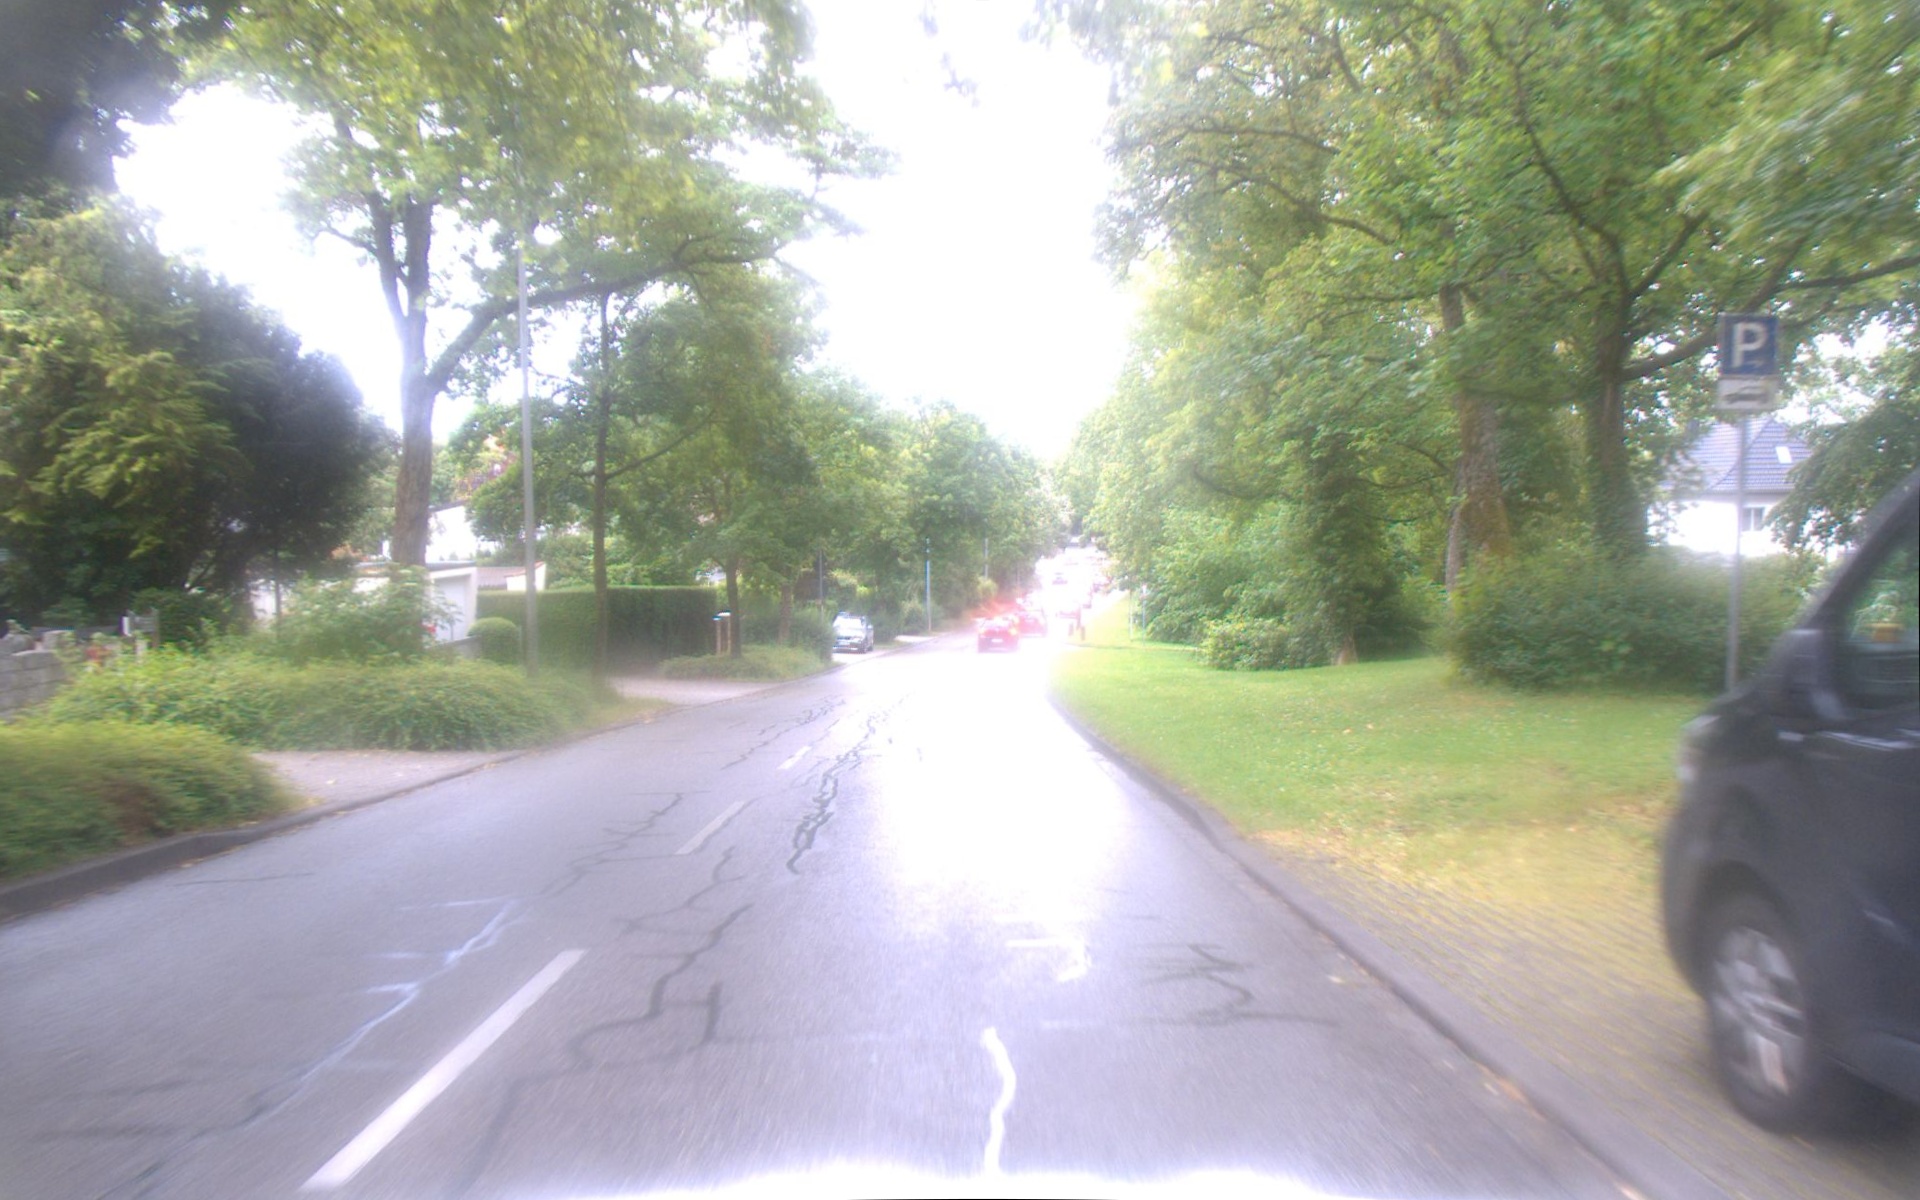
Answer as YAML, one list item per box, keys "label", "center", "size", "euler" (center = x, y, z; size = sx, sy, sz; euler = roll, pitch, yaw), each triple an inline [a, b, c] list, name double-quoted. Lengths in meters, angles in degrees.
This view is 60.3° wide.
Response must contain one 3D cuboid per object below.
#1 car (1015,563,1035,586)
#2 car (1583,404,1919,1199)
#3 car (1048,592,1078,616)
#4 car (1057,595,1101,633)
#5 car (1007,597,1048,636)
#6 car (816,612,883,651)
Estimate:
- label: "car"
  center: [6.579, -2.647, 168.502]
  size: [1.952, 2.047, 4.003]
  euler: [0, 5, 1]
- label: "car"
  center: [3.268, 0.502, 3.162]
  size: [1.953, 1.943, 5.507]
  euler: [0, 0, -2]
- label: "car"
  center: [7.579, 0.298, 121.939]
  size: [1.818, 1.721, 3.998]
  euler: [0, 0, -2]
- label: "car"
  center: [6.428, 0.765, 89.842]
  size: [1.953, 2.049, 3.998]
  euler: [0, -1, -2]
- label: "car"
  center: [3.643, 0.865, 89.673]
  size: [1.953, 2.049, 3.998]
  euler: [0, 0, -2]
- label: "car"
  center: [-4.726, 1.326, 71.370]
  size: [1.951, 1.626, 4.013]
  euler: [0, -1, 11]
